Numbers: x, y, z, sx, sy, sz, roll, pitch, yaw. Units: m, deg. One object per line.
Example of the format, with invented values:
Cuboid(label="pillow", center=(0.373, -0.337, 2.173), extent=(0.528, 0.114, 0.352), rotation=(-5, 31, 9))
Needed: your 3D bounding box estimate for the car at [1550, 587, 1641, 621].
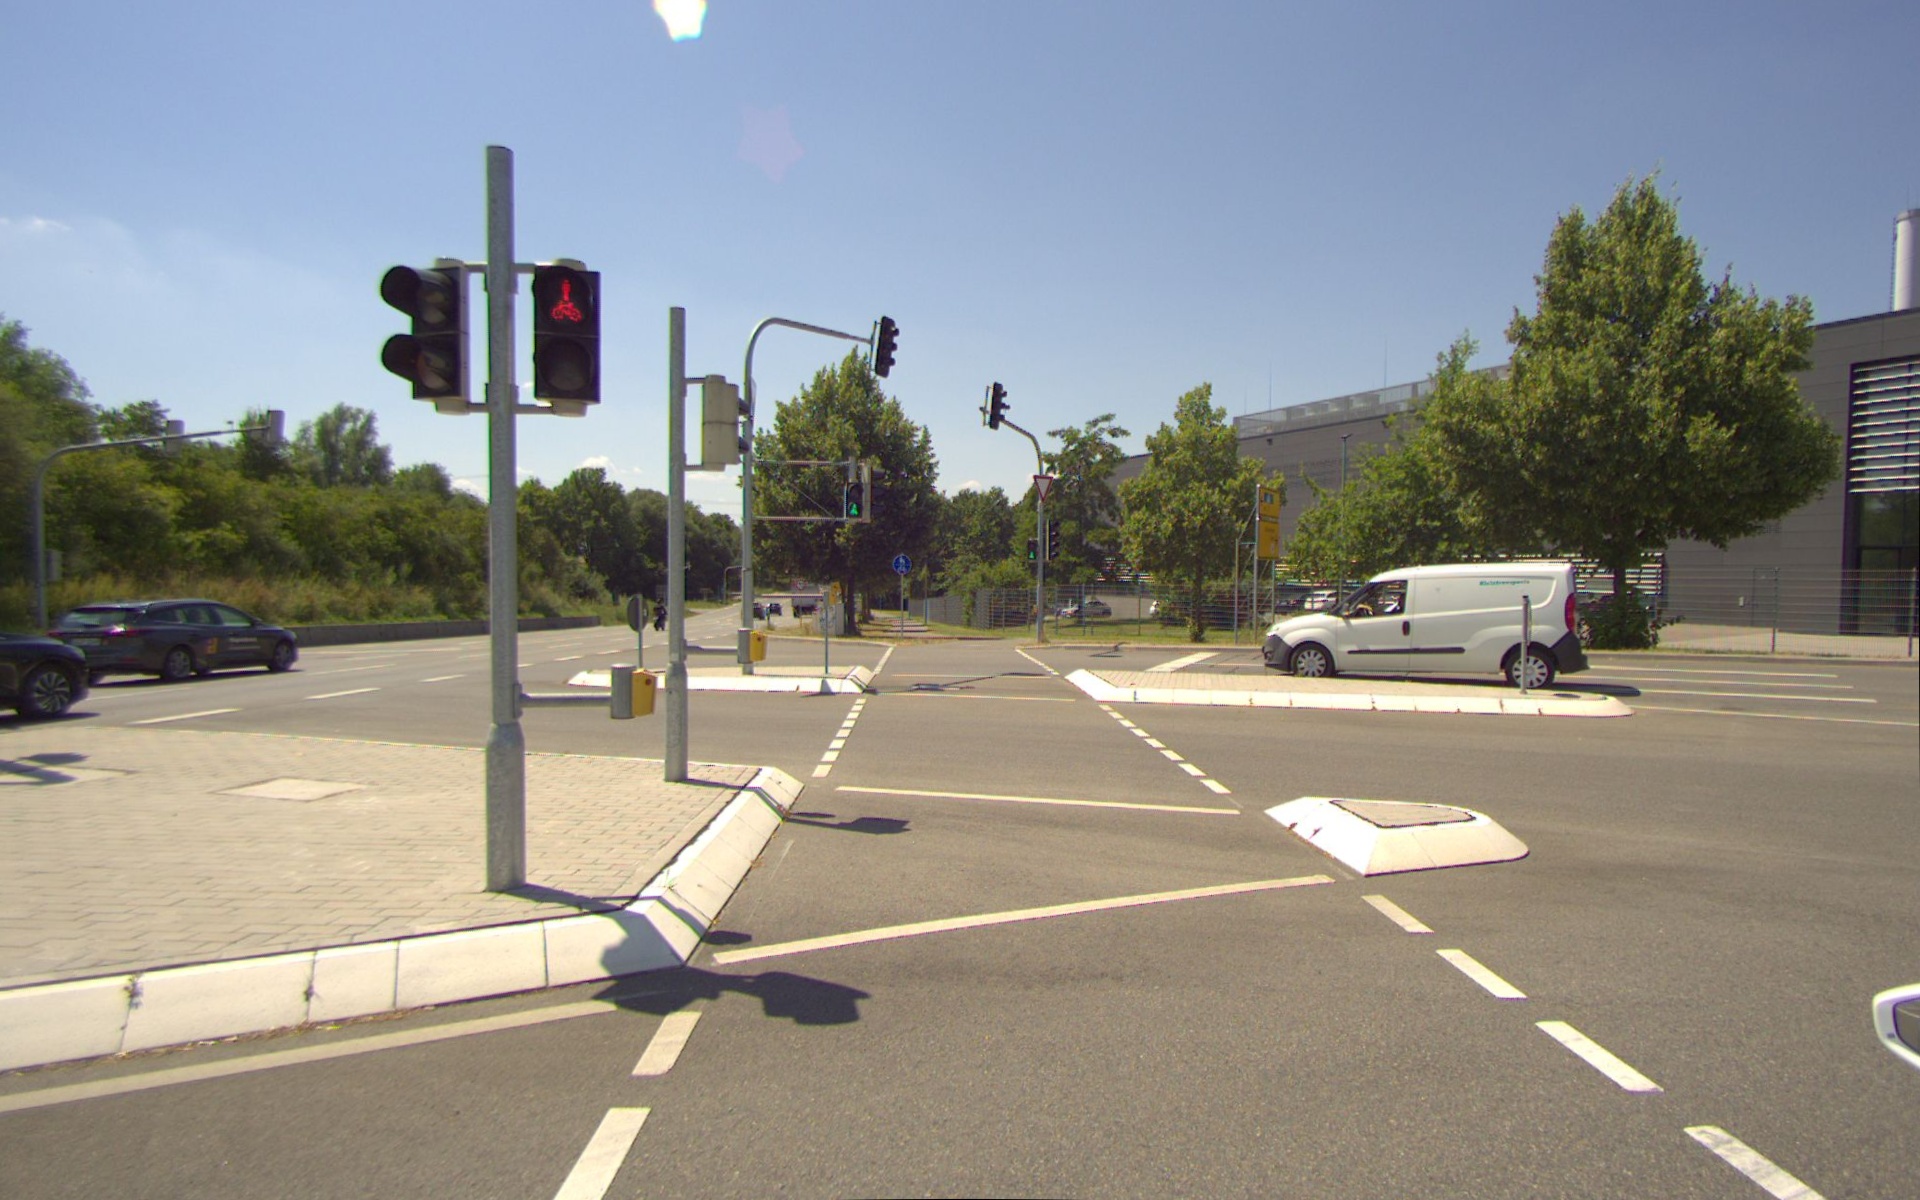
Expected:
Cuboid(label="car", center=(29.675, 0.219, 46.895), extent=(3.953, 1.505, 1.984), rotation=(0, -2, -31))

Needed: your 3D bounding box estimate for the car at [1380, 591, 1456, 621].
Cuboid(label="car", center=(25.514, 0.328, 55.906), extent=(3.953, 1.537, 1.905), rotation=(-1, -1, -31))

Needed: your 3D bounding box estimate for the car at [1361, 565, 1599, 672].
Cuboid(label="car", center=(9.789, 0.259, 19.039), extent=(3.796, 1.730, 1.995), rotation=(1, 5, 31))

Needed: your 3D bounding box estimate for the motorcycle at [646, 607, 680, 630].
Cuboid(label="motorcycle", center=(-15.492, 0.933, 52.471), extent=(0.846, 1.157, 2.171), rotation=(-1, 0, 9))

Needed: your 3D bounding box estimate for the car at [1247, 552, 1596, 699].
Cuboid(label="car", center=(7.250, 0.274, 16.040), extent=(4.785, 1.969, 1.995), rotation=(1, 5, 31))

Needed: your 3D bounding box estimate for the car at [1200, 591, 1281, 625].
Cuboid(label="car", center=(14.827, 0.456, 53.049), extent=(3.953, 1.728, 1.984), rotation=(0, -2, -31))

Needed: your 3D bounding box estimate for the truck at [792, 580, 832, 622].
Cuboid(label="truck", center=(-14.251, 0.144, 97.276), extent=(3.213, 3.890, 6.201), rotation=(0, -1, -3))

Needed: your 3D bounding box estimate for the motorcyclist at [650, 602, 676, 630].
Cuboid(label="motorcyclist", center=(-15.508, 0.850, 52.416), extent=(0.858, 1.430, 1.176), rotation=(-1, -1, 9))

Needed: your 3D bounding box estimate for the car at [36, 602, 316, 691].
Cuboid(label="car", center=(-14.462, 0.834, 18.909), extent=(1.705, 1.461, 4.394), rotation=(-1, -1, 2))

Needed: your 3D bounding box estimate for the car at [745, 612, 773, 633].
Cuboid(label="car", center=(-17.354, 1.984, 86.806), extent=(1.962, 1.773, 3.997), rotation=(0, -1, -5))

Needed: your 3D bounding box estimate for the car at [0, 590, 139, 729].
Cuboid(label="car", center=(-11.007, 0.643, 10.130), extent=(1.704, 1.461, 4.300), rotation=(-1, 0, 4))

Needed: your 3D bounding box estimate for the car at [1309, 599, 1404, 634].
Cuboid(label="car", center=(17.799, 0.727, 45.099), extent=(3.953, 1.505, 1.984), rotation=(0, -2, -31))

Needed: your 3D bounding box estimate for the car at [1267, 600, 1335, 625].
Cuboid(label="car", center=(21.537, 0.784, 63.468), extent=(3.953, 1.505, 1.984), rotation=(0, -2, -31))

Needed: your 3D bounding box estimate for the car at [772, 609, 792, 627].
Cuboid(label="car", center=(-20.404, 2.078, 114.980), extent=(1.962, 2.040, 3.997), rotation=(0, -1, -6))

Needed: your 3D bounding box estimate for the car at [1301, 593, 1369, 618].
Cuboid(label="car", center=(22.728, 0.333, 60.883), extent=(3.953, 1.479, 1.757), rotation=(0, -2, -31))

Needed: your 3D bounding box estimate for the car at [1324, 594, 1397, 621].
Cuboid(label="car", center=(23.402, 0.429, 58.701), extent=(3.953, 1.505, 1.984), rotation=(0, -2, -31))
